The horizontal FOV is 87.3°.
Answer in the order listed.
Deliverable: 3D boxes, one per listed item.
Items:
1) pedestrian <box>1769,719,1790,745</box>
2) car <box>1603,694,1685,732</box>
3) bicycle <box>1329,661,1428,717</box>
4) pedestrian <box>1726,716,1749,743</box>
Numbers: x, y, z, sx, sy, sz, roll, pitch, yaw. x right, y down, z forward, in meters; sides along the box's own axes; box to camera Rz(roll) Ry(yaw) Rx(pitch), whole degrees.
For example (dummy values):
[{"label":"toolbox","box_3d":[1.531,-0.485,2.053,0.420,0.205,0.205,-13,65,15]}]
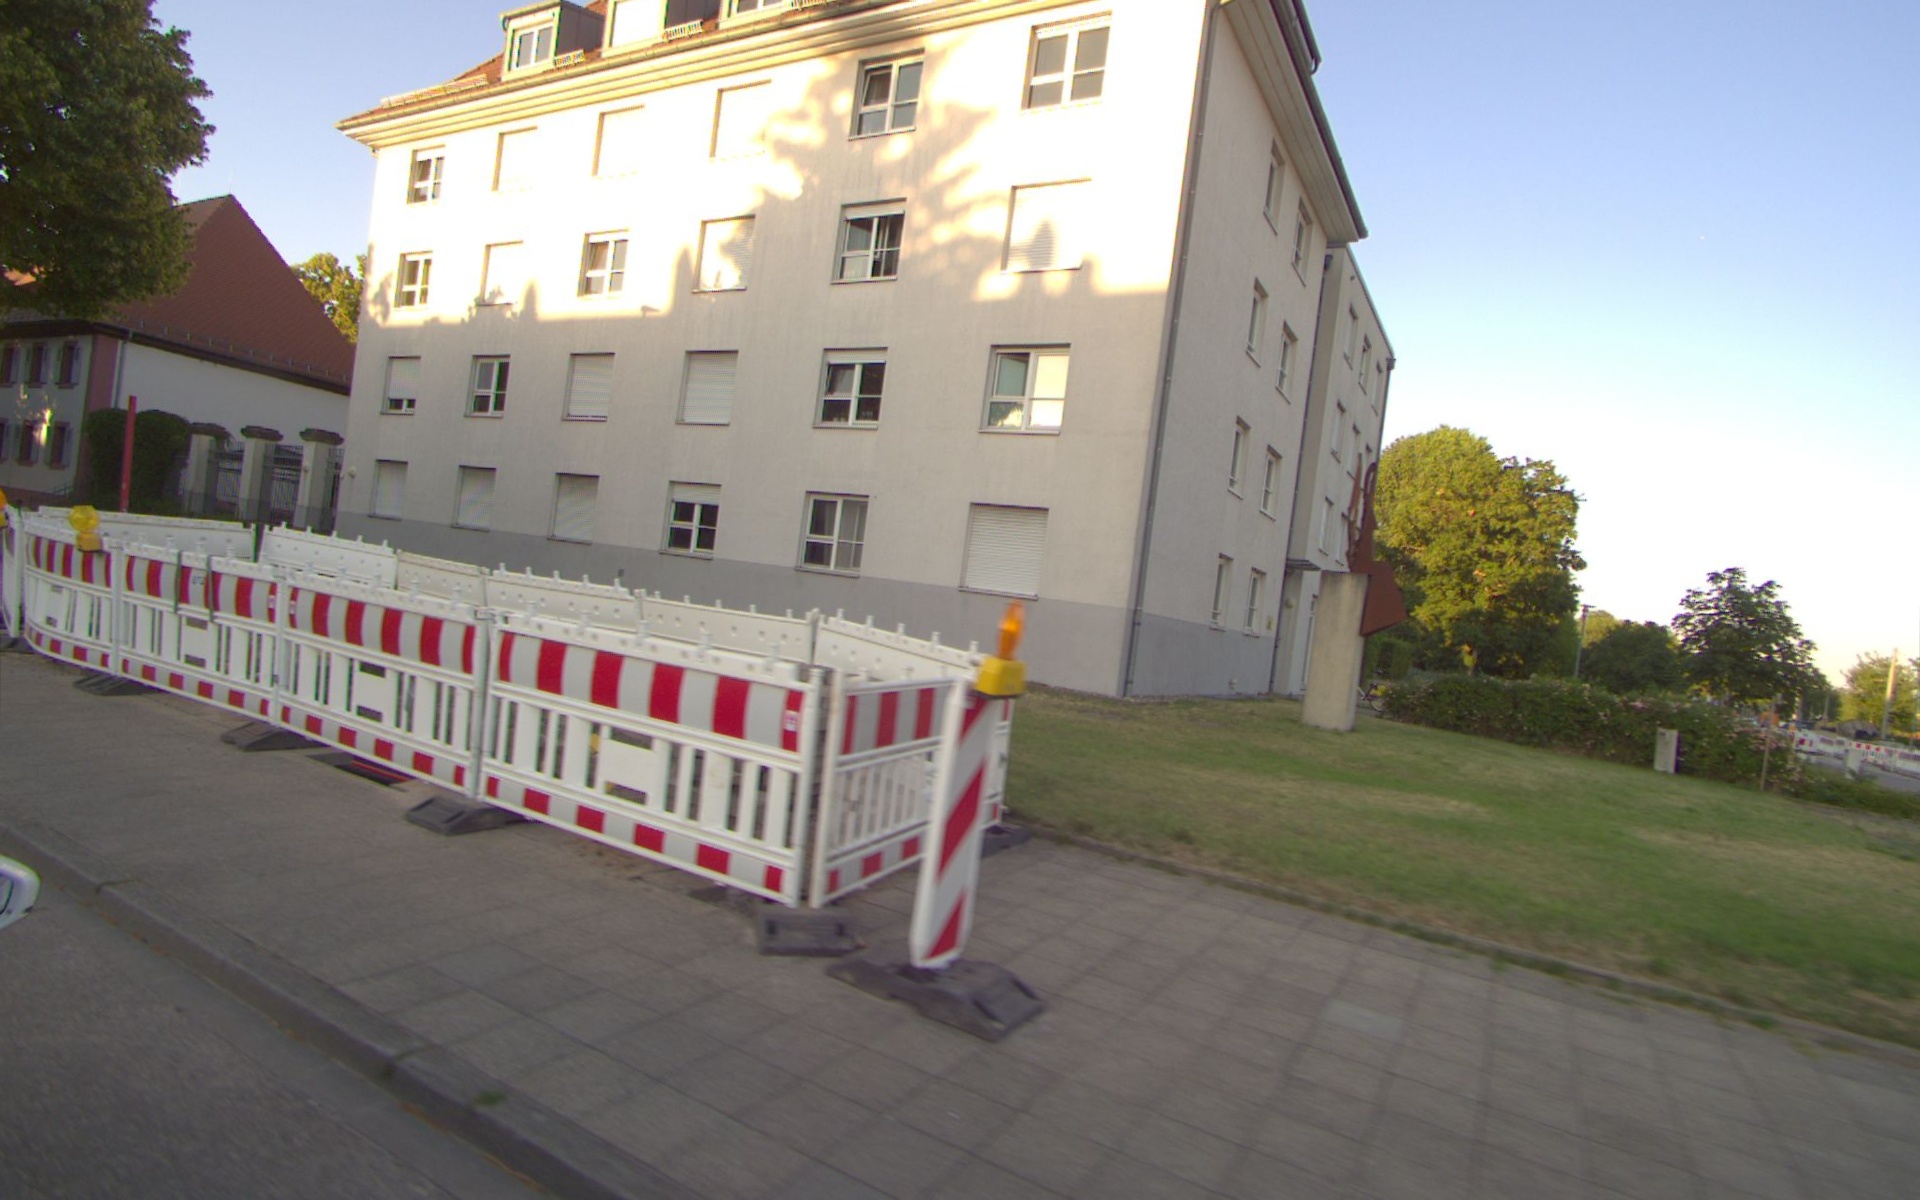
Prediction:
[{"label":"pedestrian","box_3d":[53.593,8.629,65.799,0.786,1.546,0.626,7,0,27]},{"label":"car","box_3d":[44.881,7.391,66.147,4.122,1.780,1.729,7,0,28]},{"label":"bicycle","box_3d":[10.678,2.254,25.679,2.162,1.104,0.690,7,1,30]},{"label":"pedestrian","box_3d":[48.300,8.046,62.491,0.825,1.546,1.039,7,0,28]}]
